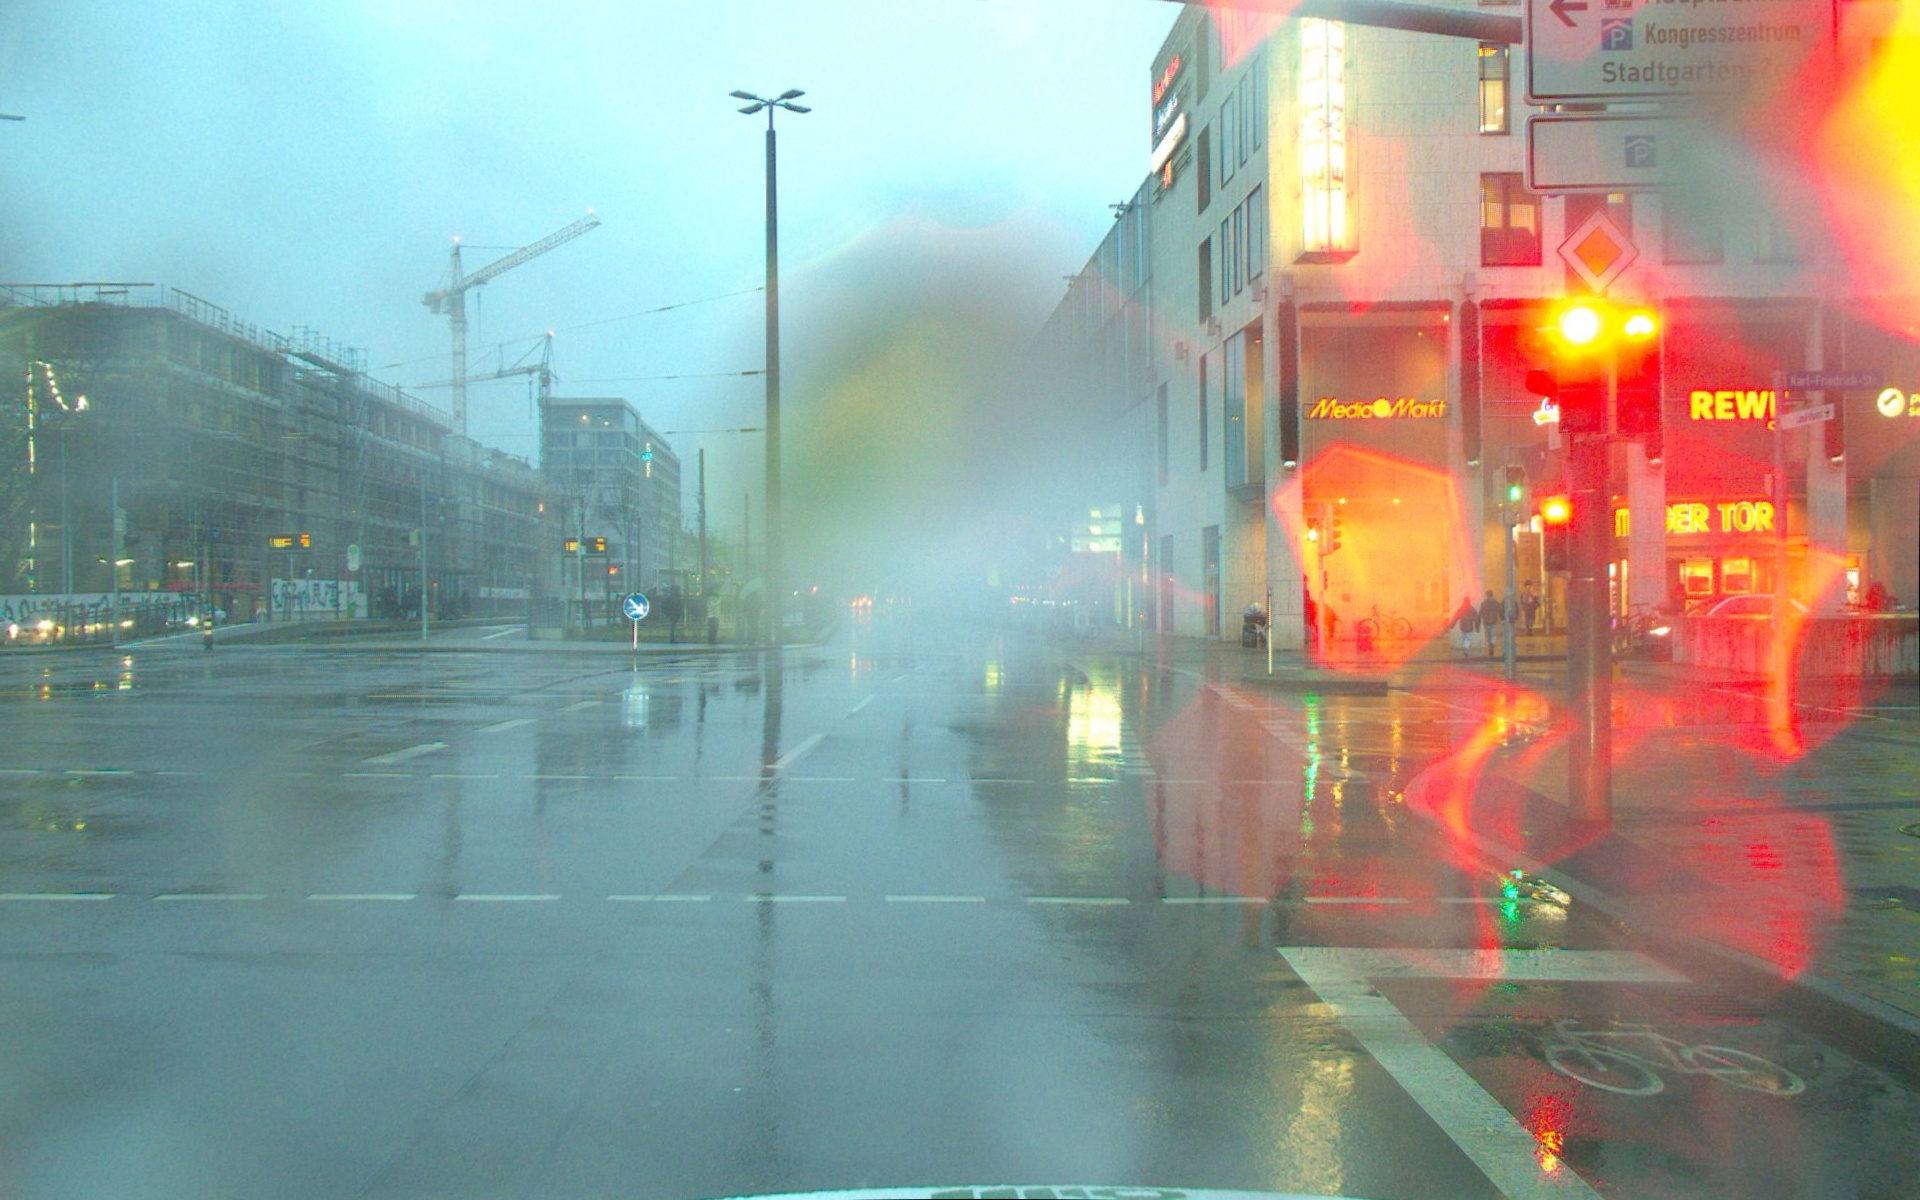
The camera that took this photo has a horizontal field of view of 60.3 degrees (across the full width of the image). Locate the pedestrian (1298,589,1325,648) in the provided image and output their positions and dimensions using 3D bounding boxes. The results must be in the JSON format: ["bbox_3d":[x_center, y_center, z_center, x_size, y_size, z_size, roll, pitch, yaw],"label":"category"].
[{"bbox_3d":[10.471,0.550,49.271,0.624,1.739,0.573,-1,0,-2],"label":"pedestrian"}]

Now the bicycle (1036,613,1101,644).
[{"bbox_3d":[4.071,1.085,62.343,2.376,1.118,0.711,-1,-1,-3],"label":"bicycle"}]

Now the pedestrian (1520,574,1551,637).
[{"bbox_3d":[18.917,0.190,54.341,0.828,2.049,0.698,-1,0,8],"label":"pedestrian"}]

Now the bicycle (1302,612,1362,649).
[{"bbox_3d":[11.420,0.935,50.809,1.732,1.088,0.524,1,-1,-5],"label":"bicycle"}]

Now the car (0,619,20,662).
[{"bbox_3d":[-36.408,1.519,60.538,2.038,1.557,4.604,-1,0,-10],"label":"car"}]

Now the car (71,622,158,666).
[{"bbox_3d":[-37.743,1.939,73.950,1.954,1.822,3.998,1,0,-3],"label":"car"}]

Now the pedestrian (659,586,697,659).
[{"bbox_3d":[-8.062,0.630,47.250,0.771,2.049,0.724,0,-1,41],"label":"pedestrian"}]

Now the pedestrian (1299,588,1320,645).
[{"bbox_3d":[10.401,0.485,49.226,0.476,1.692,0.457,-1,-1,30],"label":"pedestrian"}]

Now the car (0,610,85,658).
[{"bbox_3d":[-37.233,1.352,66.971,1.830,1.860,3.993,1,0,-8],"label":"car"}]

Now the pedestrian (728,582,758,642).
[{"bbox_3d":[-6.285,0.336,47.854,0.601,1.715,0.575,0,-1,41],"label":"pedestrian"}]

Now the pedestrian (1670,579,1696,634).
[{"bbox_3d":[23.427,0.220,53.601,0.721,1.748,0.738,-1,-1,27],"label":"pedestrian"}]

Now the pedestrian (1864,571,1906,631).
[{"bbox_3d":[26.869,0.031,48.041,0.875,1.714,0.528,-1,-1,-1],"label":"pedestrian"}]

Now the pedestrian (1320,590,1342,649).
[{"bbox_3d":[11.264,0.586,50.235,0.587,1.775,0.525,1,-1,7],"label":"pedestrian"}]

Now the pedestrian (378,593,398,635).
[{"bbox_3d":[-26.488,0.638,76.627,0.684,1.913,0.553,1,-1,-2],"label":"pedestrian"}]

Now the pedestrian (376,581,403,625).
[{"bbox_3d":[-26.933,0.123,78.109,0.923,2.049,1.093,1,-1,-4],"label":"pedestrian"}]

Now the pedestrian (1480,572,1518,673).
[{"bbox_3d":[13.557,0.562,41.581,0.675,2.484,0.758,1,-1,-1],"label":"pedestrian"}]

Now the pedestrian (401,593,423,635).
[{"bbox_3d":[-25.935,0.662,78.342,0.750,1.931,0.762,1,-2,-1],"label":"pedestrian"}]

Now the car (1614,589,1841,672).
[{"bbox_3d":[16.208,0.625,35.073,3.905,1.646,2.000,1,0,0],"label":"car"}]

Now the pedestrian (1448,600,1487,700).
[{"bbox_3d":[12.736,1.246,41.533,0.700,2.484,0.758,1,-1,-1],"label":"pedestrian"}]

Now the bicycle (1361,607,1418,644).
[{"bbox_3d":[13.247,0.784,51.008,1.614,1.088,0.524,1,-1,-5],"label":"bicycle"}]

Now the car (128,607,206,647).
[{"bbox_3d":[-38.056,1.278,79.500,1.954,1.822,3.998,1,0,-3],"label":"car"}]

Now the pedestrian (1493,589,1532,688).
[{"bbox_3d":[14.146,0.986,42.365,0.679,2.491,0.791,1,-1,-1],"label":"pedestrian"}]

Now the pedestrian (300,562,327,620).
[{"bbox_3d":[-26.725,-0.347,68.375,0.750,2.364,0.762,1,-2,-1],"label":"pedestrian"}]

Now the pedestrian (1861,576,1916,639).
[{"bbox_3d":[25.565,0.201,45.555,1.009,1.713,0.824,1,-1,-1],"label":"pedestrian"}]

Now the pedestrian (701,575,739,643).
[{"bbox_3d":[-6.746,0.255,46.438,0.813,1.863,0.777,1,-1,-31],"label":"pedestrian"}]

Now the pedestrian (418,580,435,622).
[{"bbox_3d":[-25.936,0.054,80.400,0.559,2.002,0.664,2,-1,-7],"label":"pedestrian"}]

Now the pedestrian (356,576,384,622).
[{"bbox_3d":[-26.866,-0.040,75.375,0.924,2.049,1.093,1,-1,-5],"label":"pedestrian"}]

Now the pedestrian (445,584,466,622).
[{"bbox_3d":[-27.745,0.163,90.911,0.924,2.049,1.092,1,-1,-9],"label":"pedestrian"}]

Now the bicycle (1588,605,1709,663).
[{"bbox_3d":[17.199,0.842,41.351,2.659,1.383,0.957,-1,-1,-4],"label":"bicycle"}]

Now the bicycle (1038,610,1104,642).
[{"bbox_3d":[4.129,0.965,61.576,2.393,1.174,0.674,-1,-1,-2],"label":"bicycle"}]
